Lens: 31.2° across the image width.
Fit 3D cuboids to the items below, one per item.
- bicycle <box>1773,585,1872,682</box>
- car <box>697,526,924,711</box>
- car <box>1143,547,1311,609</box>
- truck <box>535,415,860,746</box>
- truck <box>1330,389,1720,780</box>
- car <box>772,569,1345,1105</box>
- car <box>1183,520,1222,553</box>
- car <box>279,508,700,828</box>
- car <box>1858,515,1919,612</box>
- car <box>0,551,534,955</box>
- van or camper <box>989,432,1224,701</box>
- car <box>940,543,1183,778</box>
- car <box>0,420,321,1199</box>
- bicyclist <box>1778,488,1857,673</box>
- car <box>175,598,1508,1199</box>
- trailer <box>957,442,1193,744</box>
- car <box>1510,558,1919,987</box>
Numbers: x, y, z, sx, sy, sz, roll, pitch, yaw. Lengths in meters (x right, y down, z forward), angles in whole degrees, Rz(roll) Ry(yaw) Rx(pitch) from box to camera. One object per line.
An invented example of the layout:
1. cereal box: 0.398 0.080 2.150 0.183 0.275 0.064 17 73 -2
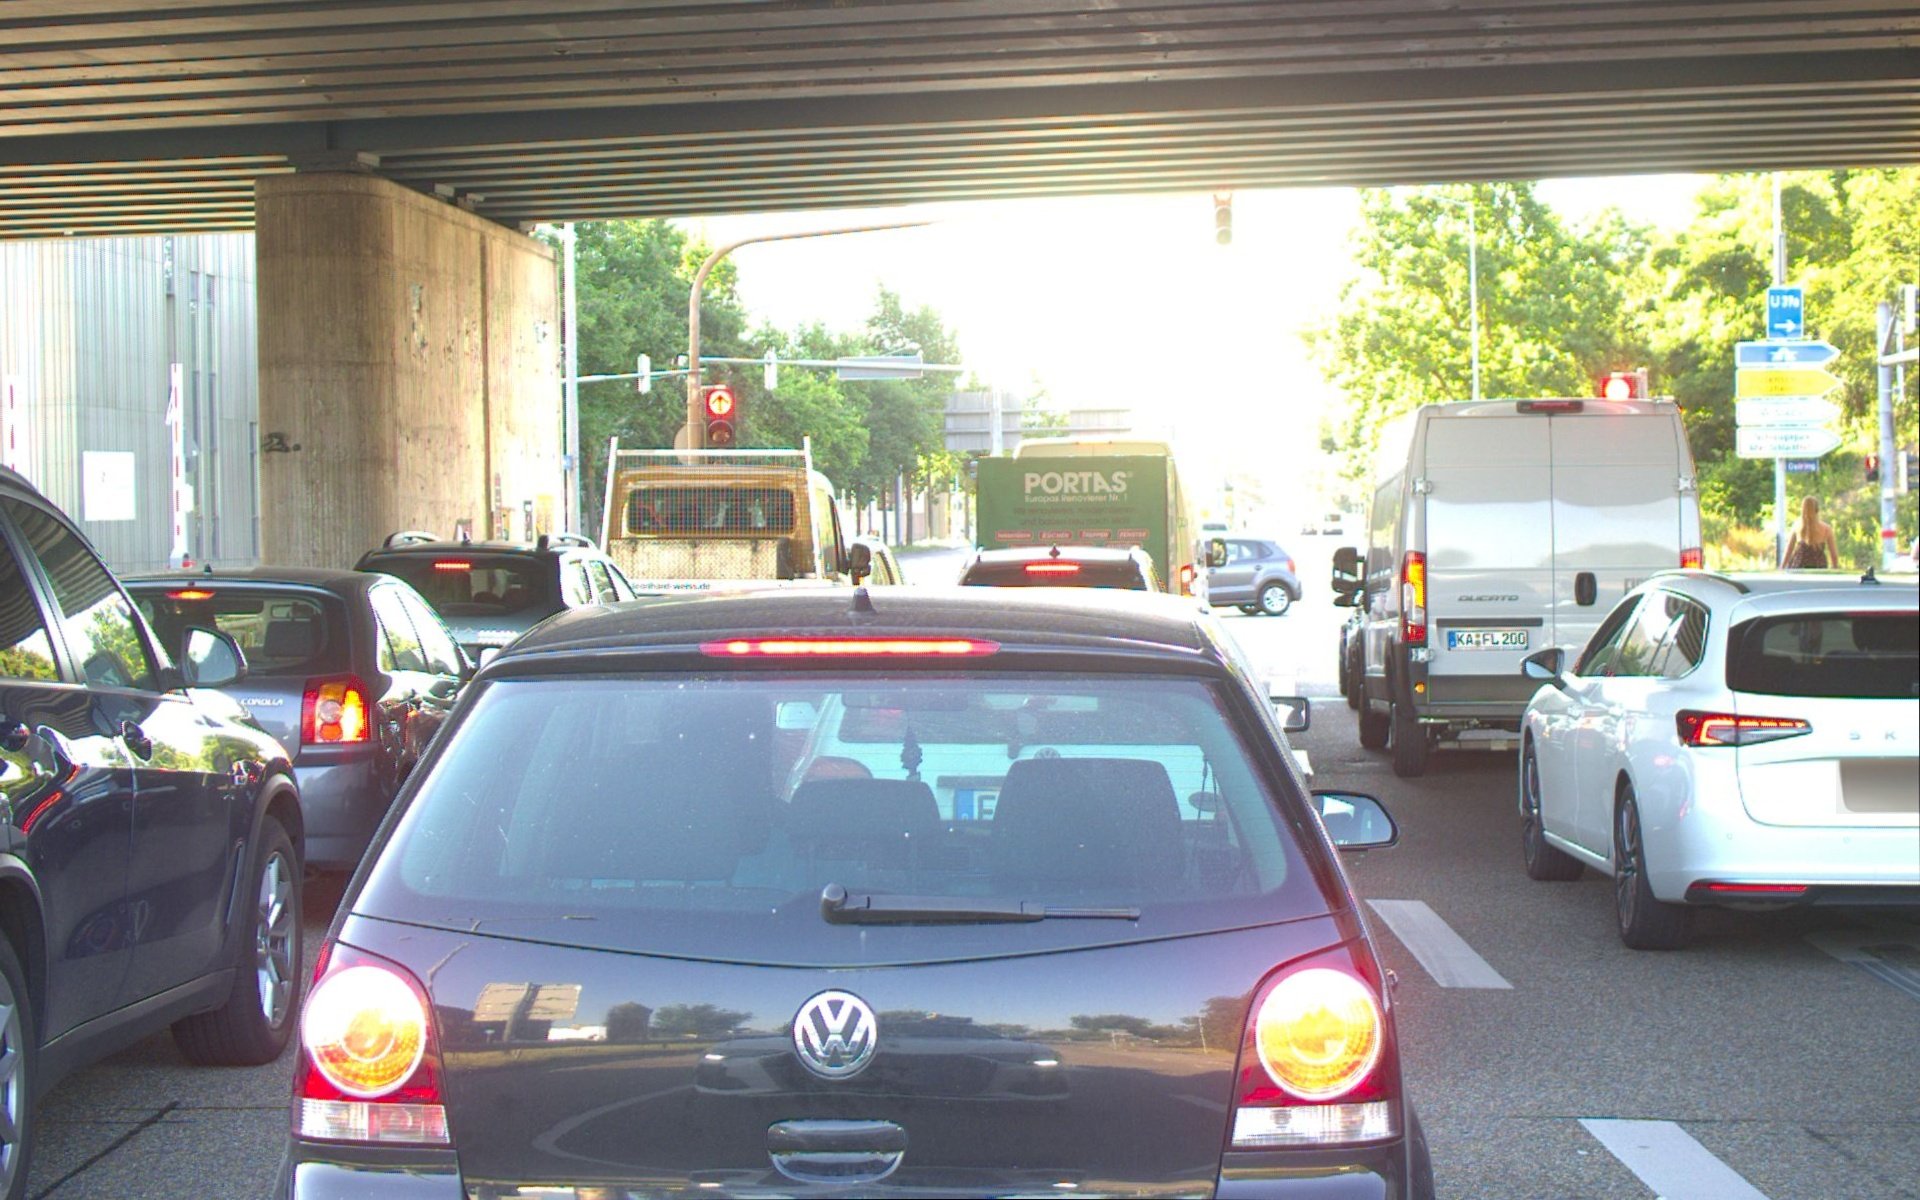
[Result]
1. bicycle: 8.939 0.337 35.716 0.579 0.960 2.885 -1 0 6
2. car: -1.572 0.197 37.603 1.994 1.894 3.999 -1 0 5
3. car: 4.798 -0.398 61.958 2.822 1.077 1.218 0 0 -6
4. truck: -2.118 -0.147 29.395 2.028 2.548 5.536 0 0 3
5. truck: 3.957 -0.105 24.862 2.111 2.511 4.401 -2 0 1
6. car: 0.318 0.640 11.240 1.547 1.418 3.417 2 1 2
7. car: 10.377 -2.723 147.224 1.339 1.277 2.893 -4 0 -1
8. car: -2.840 0.383 21.637 1.841 1.713 4.000 -4 0 2
9. car: 18.266 -0.746 61.915 3.795 1.678 1.664 -4 0 9
10. car: -3.025 0.588 14.899 1.841 1.435 3.675 -4 0 0
11. van or camper: 1.621 -0.315 35.787 1.994 2.562 5.916 0 0 7
12. car: 0.752 0.403 24.337 1.582 1.527 3.831 0 0 3
13. car: -2.897 0.504 8.332 1.829 1.732 4.461 -1 0 0
14. bicyclist: 8.932 -0.202 35.841 0.682 1.900 0.833 0 0 6
15. car: -0.184 0.709 5.997 1.581 1.404 3.832 0 0 -1
16. trailer: 1.083 -0.054 30.491 1.864 2.456 3.831 -2 0 4
17. car: 3.392 0.600 14.048 1.772 1.490 3.831 -2 0 2
